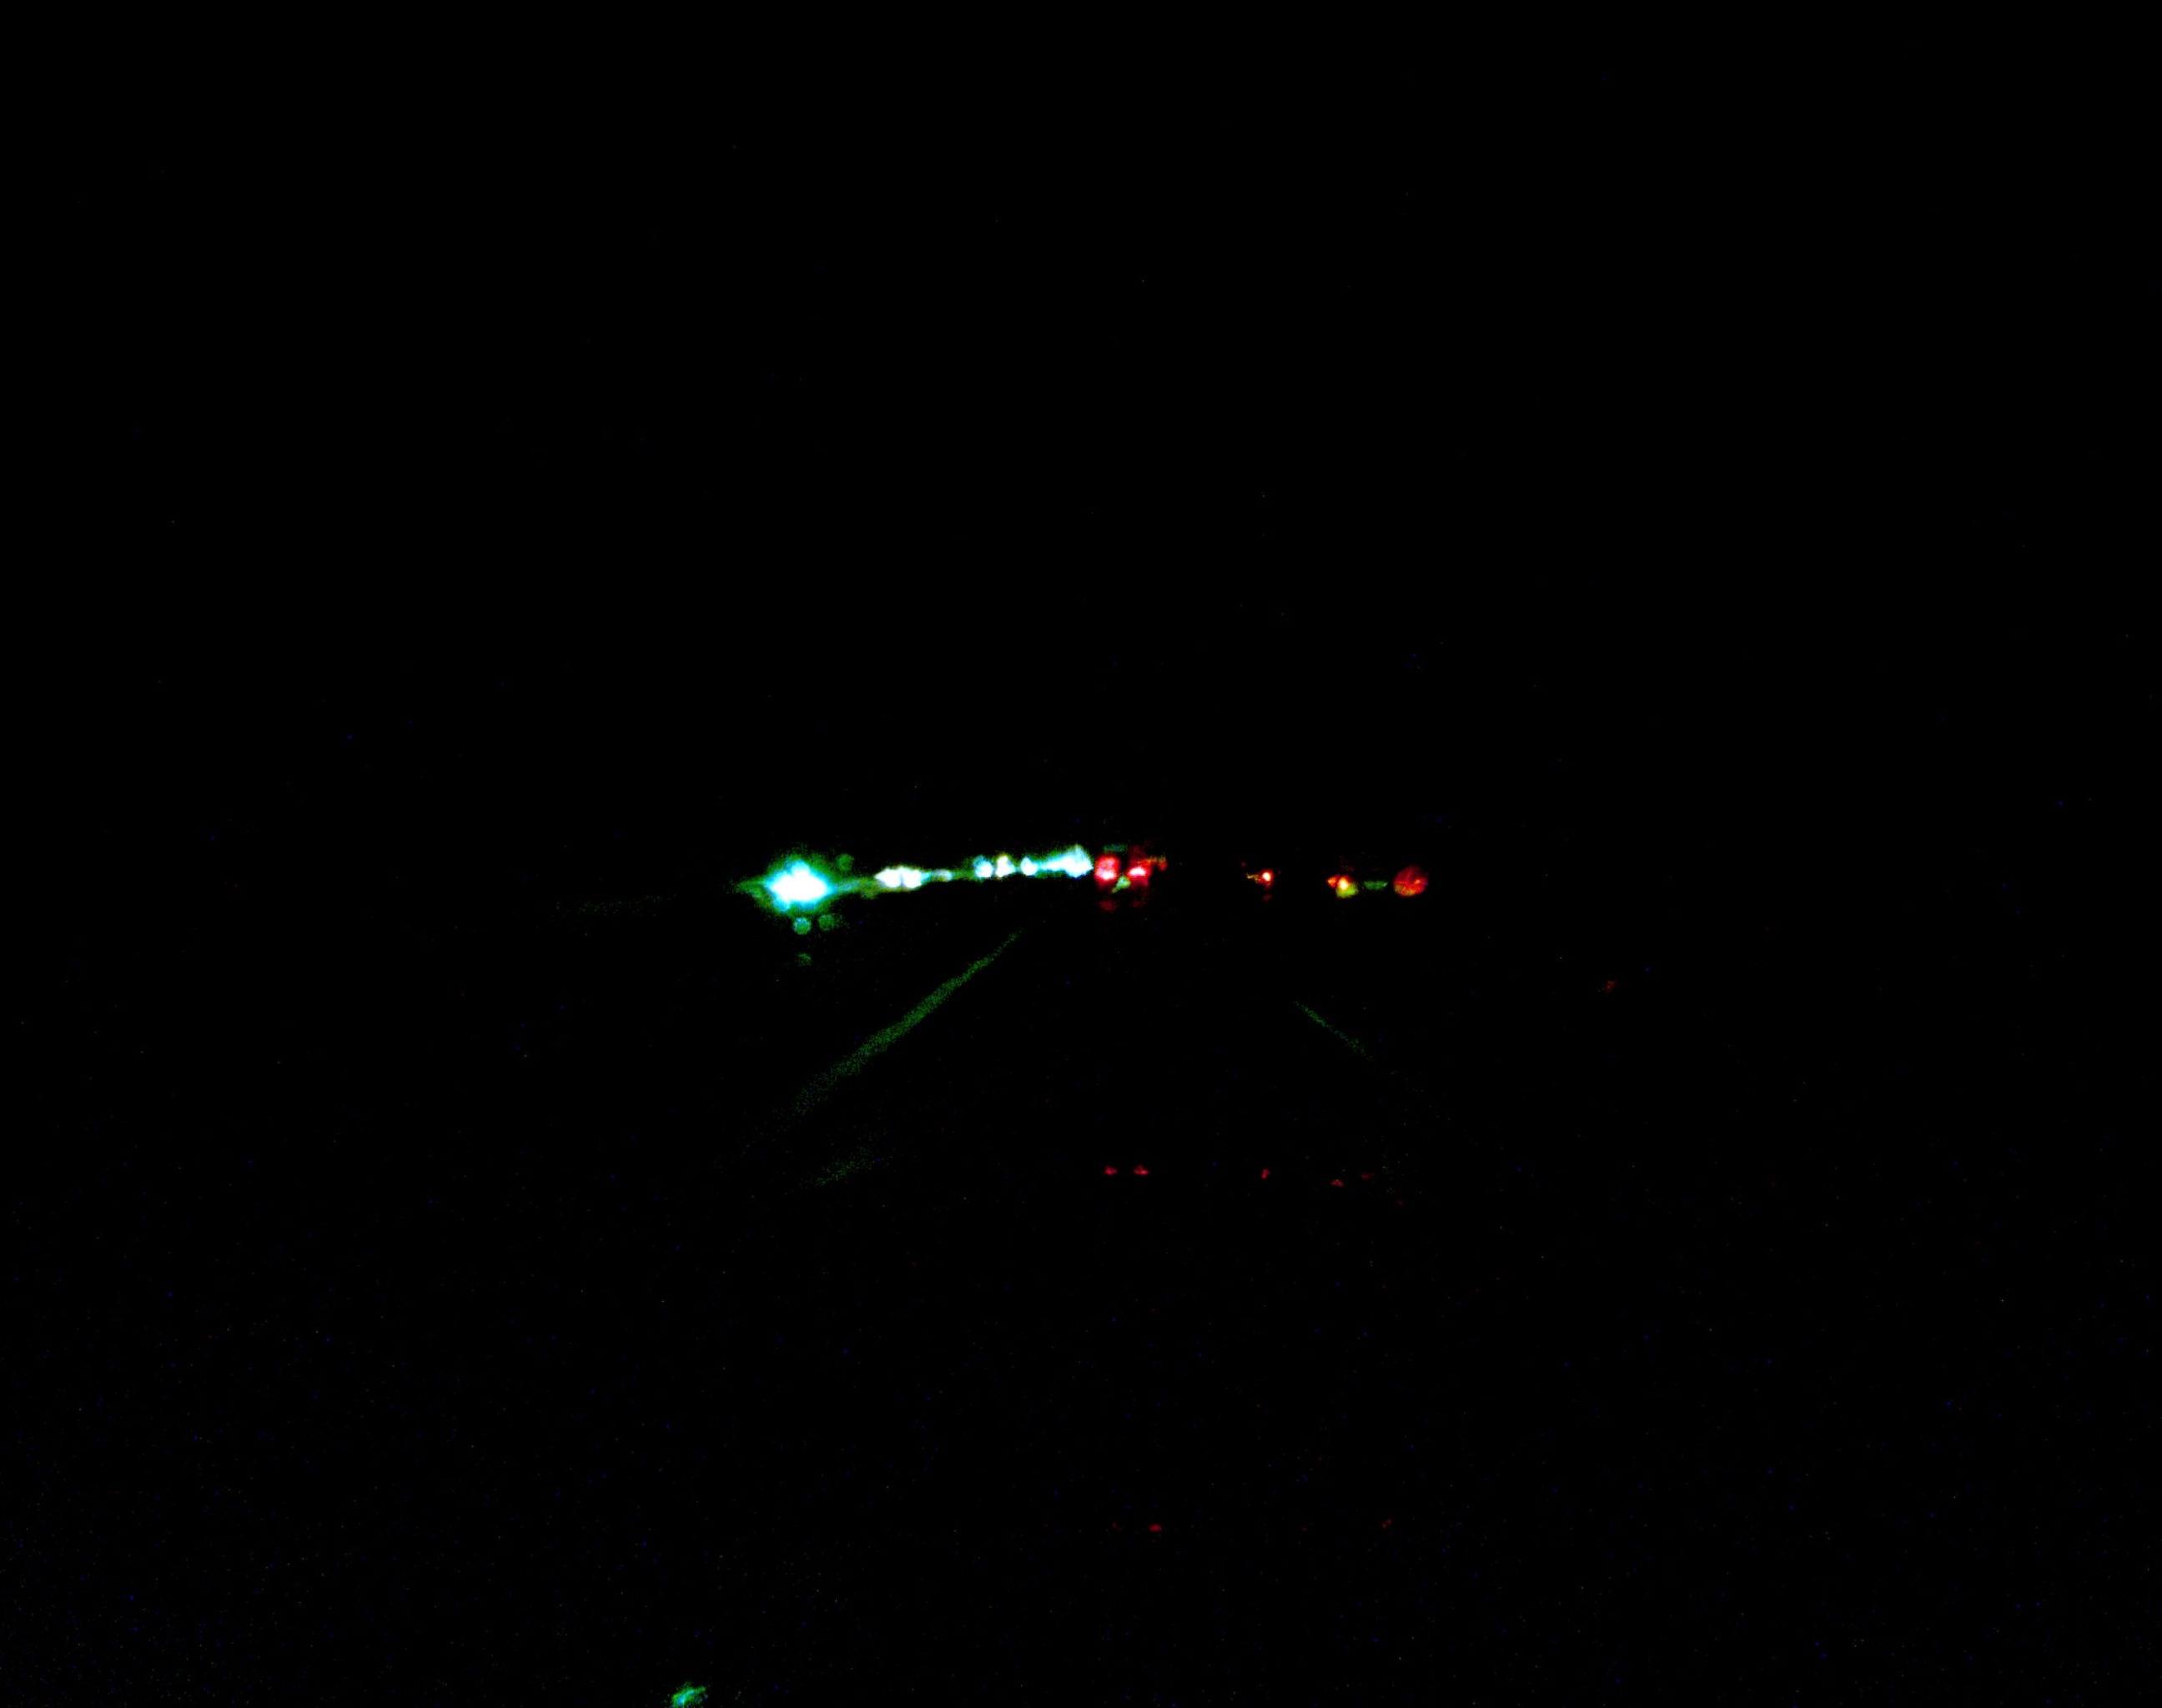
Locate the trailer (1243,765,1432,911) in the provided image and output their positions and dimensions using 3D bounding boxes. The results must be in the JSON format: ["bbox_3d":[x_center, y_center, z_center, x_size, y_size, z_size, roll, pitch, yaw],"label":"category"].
[{"bbox_3d":[8.907,-0.385,30.978,2.892,4.108,14.492,-3,-1,2],"label":"trailer"}]

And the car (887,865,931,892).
[{"bbox_3d":[-13.929,1.963,66.218,1.985,2.014,5.366,-2,-1,4],"label":"car"}]

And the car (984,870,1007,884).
[{"bbox_3d":[-9.919,2.683,94.952,1.986,1.440,4.439,-2,-1,2],"label":"car"}]

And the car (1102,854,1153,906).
[{"bbox_3d":[1.910,1.071,34.032,1.986,2.014,4.001,0,-2,2],"label":"car"}]

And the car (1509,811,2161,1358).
[{"bbox_3d":[4.004,0.670,3.772,1.734,1.575,4.495,-1,-1,1],"label":"car"}]

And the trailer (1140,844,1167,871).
[{"bbox_3d":[11.730,0.681,132.989,3.031,4.109,13.826,-3,-1,0],"label":"trailer"}]

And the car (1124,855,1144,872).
[{"bbox_3d":[6.475,1.179,100.003,1.988,2.014,3.997,-3,-1,-2],"label":"car"}]

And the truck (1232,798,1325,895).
[{"bbox_3d":[9.156,-0.302,38.486,2.892,4.109,6.032,-3,-1,2],"label":"truck"}]

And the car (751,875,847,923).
[{"bbox_3d":[-11.642,1.803,34.073,1.986,1.739,5.238,1,-1,2],"label":"car"}]

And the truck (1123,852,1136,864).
[{"bbox_3d":[14.124,1.270,239.706,3.027,3.298,11.379,-3,-1,0],"label":"truck"}]

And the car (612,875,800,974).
[{"bbox_3d":[-7.563,1.350,16.937,1.987,1.739,3.999,1,-1,0],"label":"car"}]
